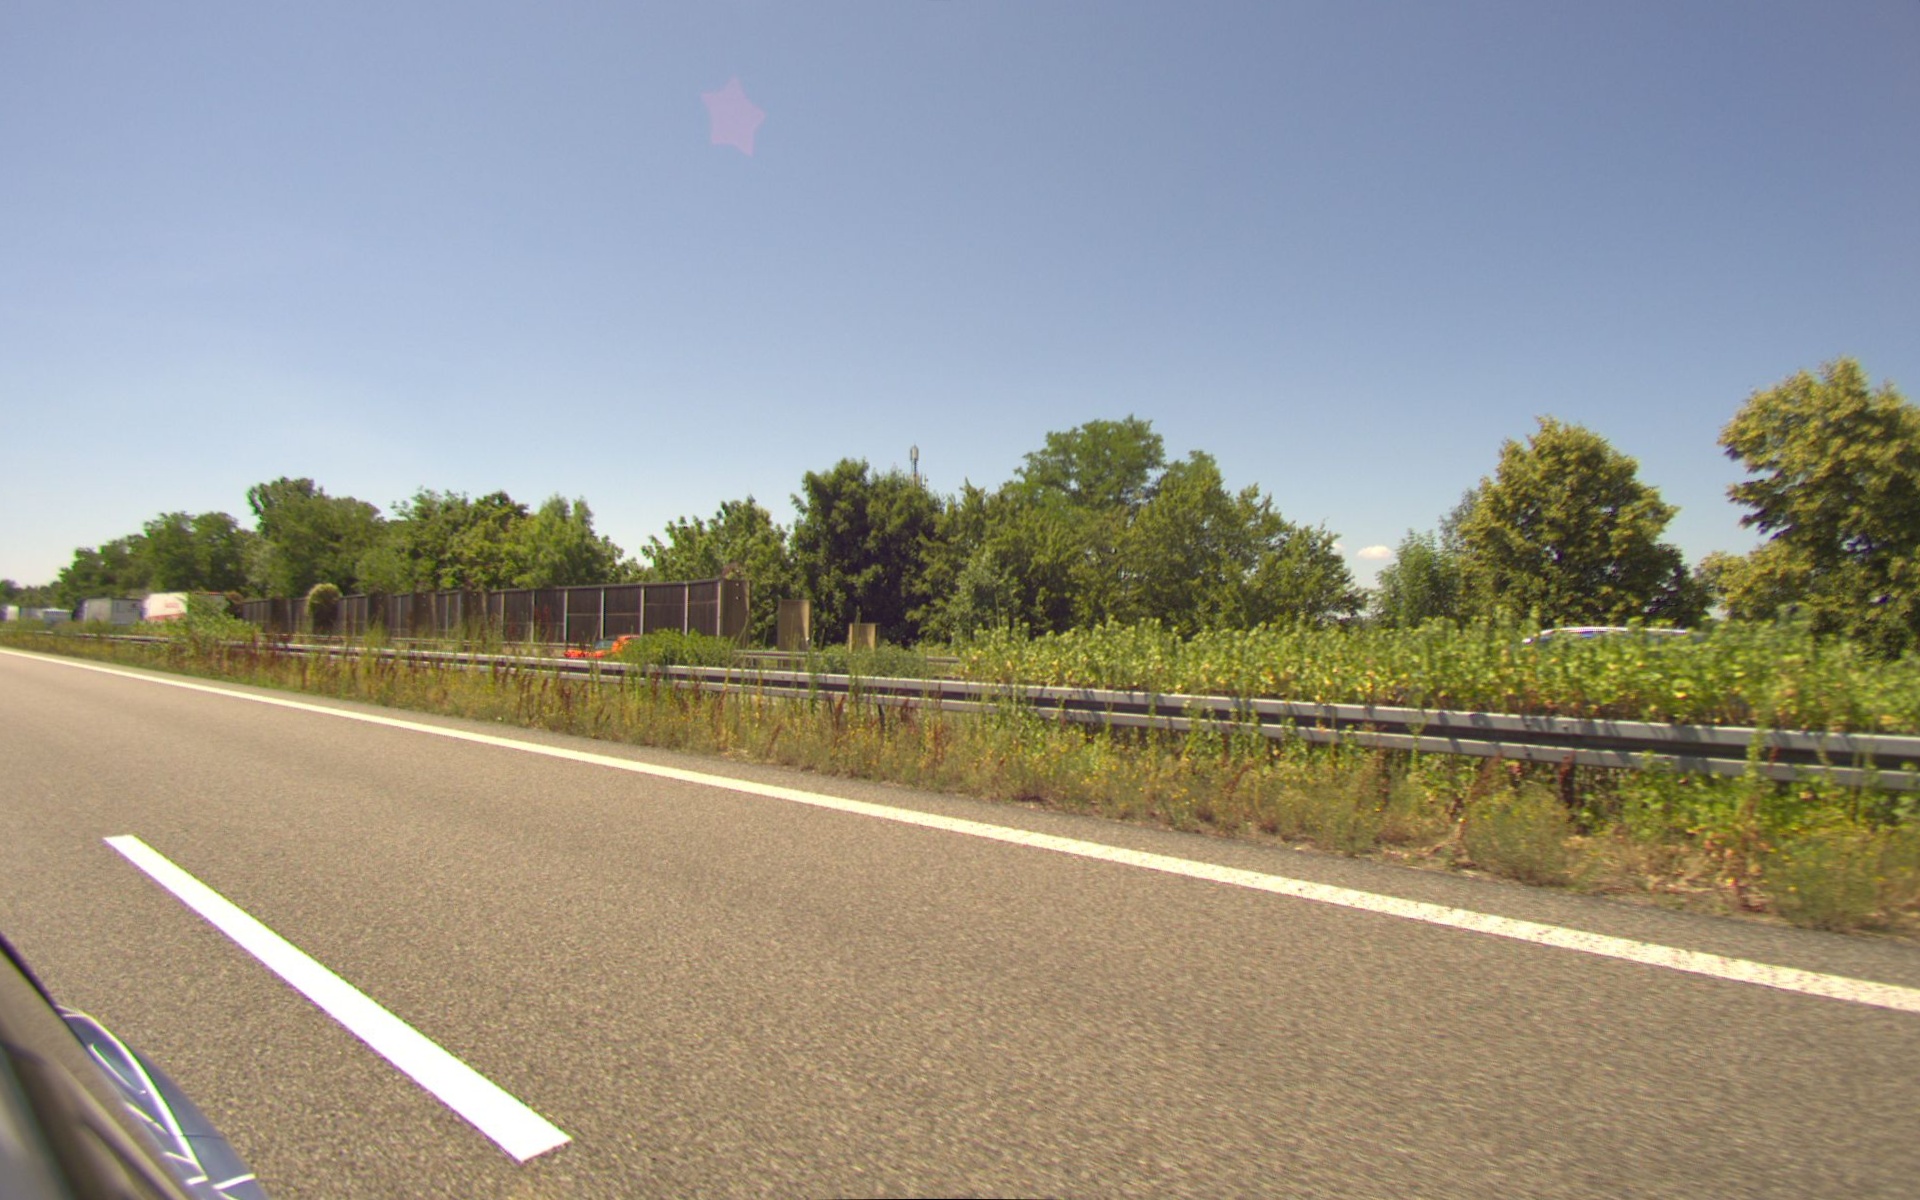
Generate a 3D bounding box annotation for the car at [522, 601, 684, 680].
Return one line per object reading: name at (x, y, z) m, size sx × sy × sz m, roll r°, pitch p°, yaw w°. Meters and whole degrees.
car at (-8.550, 0.940, 24.096) m, size 3.998 × 1.717 × 1.972 m, roll -2°, pitch -2°, yaw 42°

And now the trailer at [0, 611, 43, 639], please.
trailer at (-146.179, 3.914, 157.567) m, size 12.791 × 4.135 × 3.572 m, roll -1°, pitch -3°, yaw 42°

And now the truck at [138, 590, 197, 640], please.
truck at (-70.600, 1.376, 90.075) m, size 7.712 × 4.239 × 2.812 m, roll -2°, pitch -1°, yaw 42°

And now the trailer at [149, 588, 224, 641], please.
trailer at (-65.235, 1.301, 85.249) m, size 12.217 × 4.205 × 2.812 m, roll -2°, pitch -1°, yaw 42°

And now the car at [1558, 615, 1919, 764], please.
car at (9.551, 0.952, 11.962) m, size 3.999 × 1.409 × 1.842 m, roll -1°, pitch 3°, yaw 42°

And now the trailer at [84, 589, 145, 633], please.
trailer at (-90.545, 1.218, 108.266) m, size 12.948 × 4.512 × 3.133 m, roll -1°, pitch -1°, yaw 42°

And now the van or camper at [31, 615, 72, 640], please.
van or camper at (-96.467, 2.911, 107.384) m, size 7.408 × 2.596 × 2.439 m, roll -1°, pitch -1°, yaw 42°
